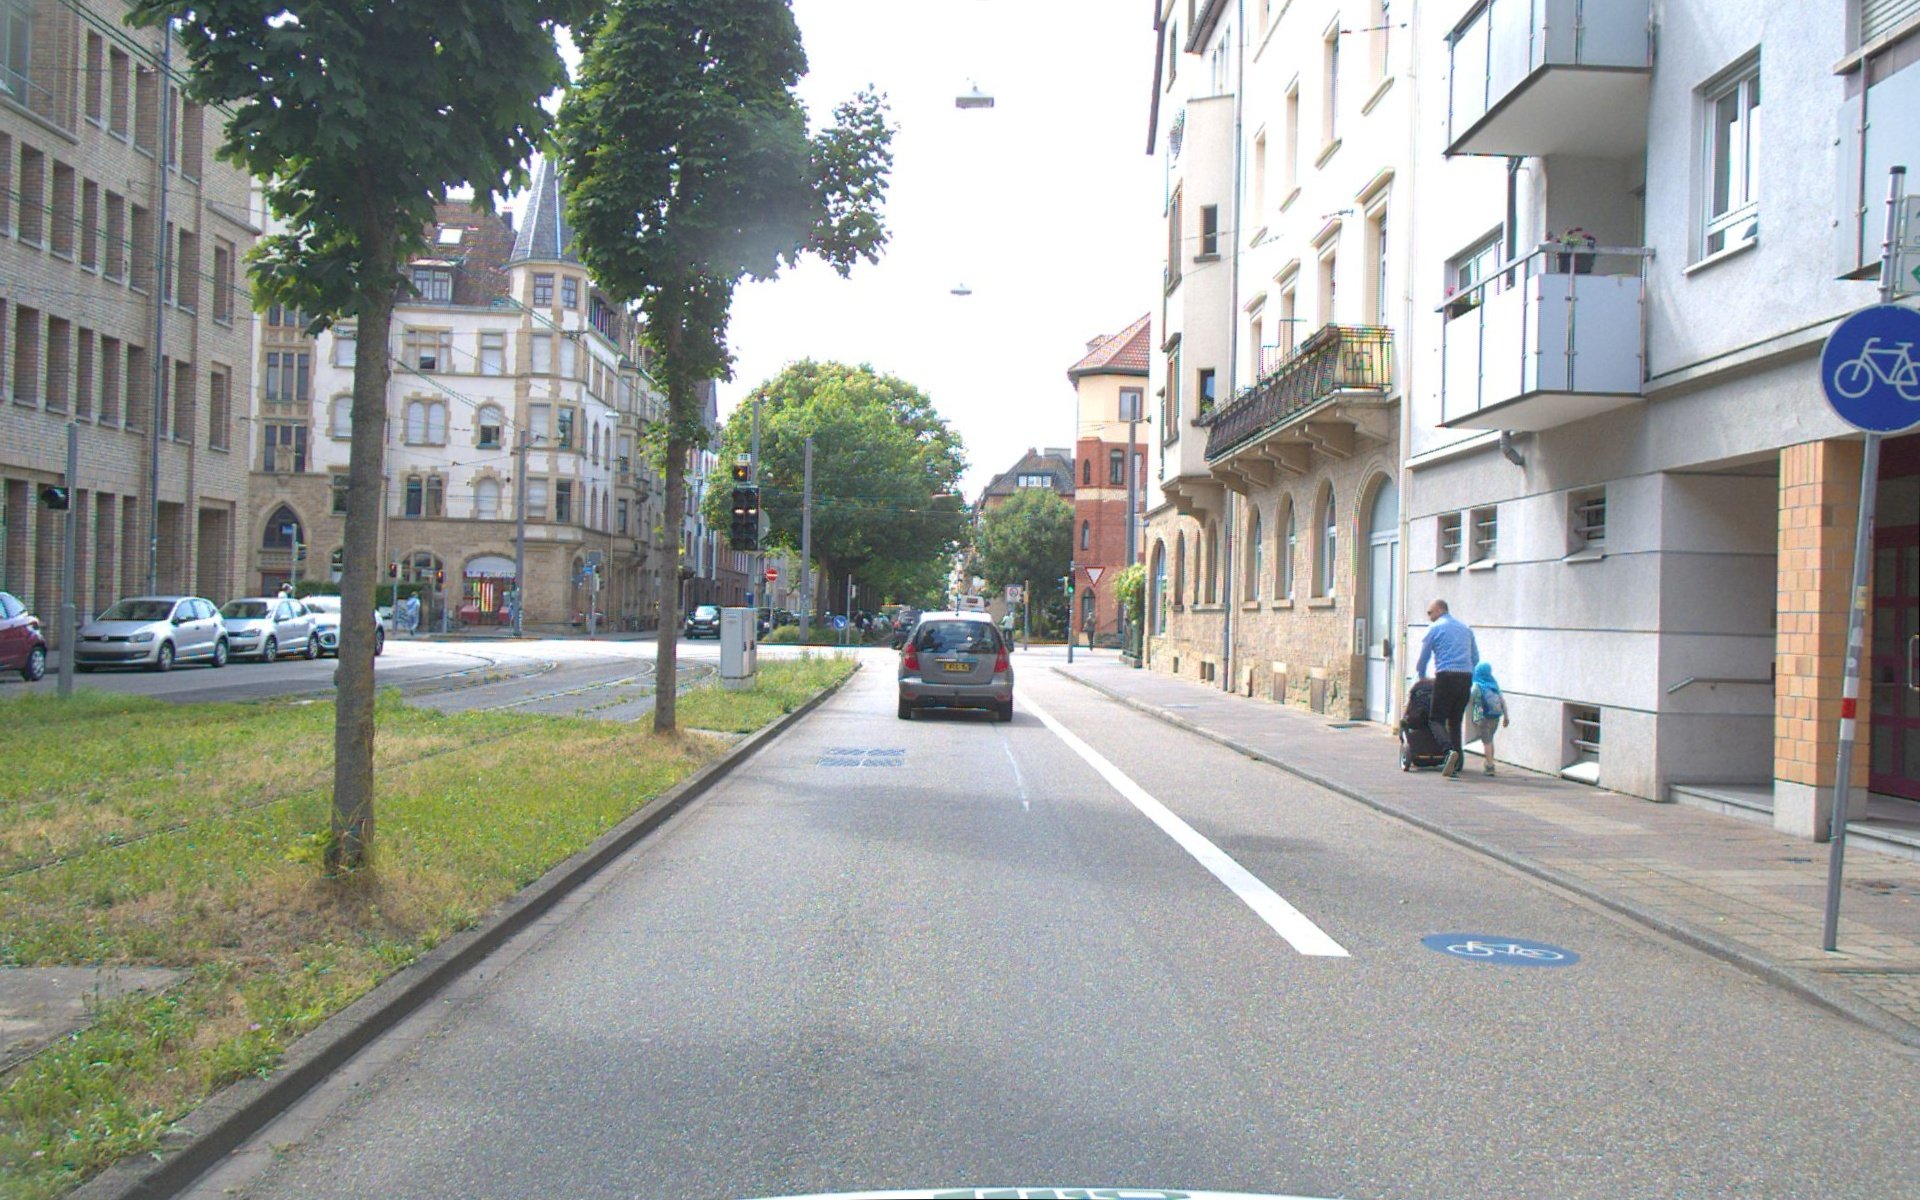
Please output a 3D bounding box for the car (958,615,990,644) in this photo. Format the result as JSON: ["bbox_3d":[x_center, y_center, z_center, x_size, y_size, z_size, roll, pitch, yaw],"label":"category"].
[{"bbox_3d":[0.876,1.762,99.479,1.715,1.661,3.500,1,-1,3],"label":"car"}]

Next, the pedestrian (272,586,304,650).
[{"bbox_3d":[-19.504,0.528,48.023,0.750,1.827,0.952,2,-1,-26],"label":"pedestrian"}]

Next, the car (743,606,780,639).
[{"bbox_3d":[-11.127,1.259,92.749,1.955,1.758,3.995,1,-1,-6],"label":"car"}]

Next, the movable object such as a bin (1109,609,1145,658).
[{"bbox_3d":[5.515,1.104,54.777,1.028,1.566,2.100,1,-1,1],"label":"movable object such as a bin"}]

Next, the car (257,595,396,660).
[{"bbox_3d":[-16.212,0.690,42.562,1.893,1.562,4.257,1,-1,0],"label":"car"}]

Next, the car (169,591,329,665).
[{"bbox_3d":[-16.219,0.625,37.966,1.893,1.557,4.014,1,-1,0],"label":"car"}]

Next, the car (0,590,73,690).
[{"bbox_3d":[-15.781,0.611,26.145,1.550,1.557,3.549,1,-1,0],"label":"car"}]

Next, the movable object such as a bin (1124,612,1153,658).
[{"bbox_3d":[5.905,1.167,54.684,0.701,1.498,0.980,1,-1,-10],"label":"movable object such as a bin"}]

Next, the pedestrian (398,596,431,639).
[{"bbox_3d":[-22.237,0.716,67.462,0.763,1.752,1.016,1,-1,45],"label":"pedestrian"}]

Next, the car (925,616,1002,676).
[{"bbox_3d":[0.084,1.198,44.193,1.939,1.467,3.999,1,-1,0],"label":"car"}]

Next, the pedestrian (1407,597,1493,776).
[{"bbox_3d":[4.948,0.856,16.733,0.608,1.769,0.877,0,-1,0],"label":"pedestrian"}]

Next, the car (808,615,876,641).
[{"bbox_3d":[-6.728,1.603,94.091,1.956,1.362,3.943,2,-1,-40],"label":"car"}]

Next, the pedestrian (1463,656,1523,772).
[{"bbox_3d":[5.497,1.169,17.067,0.447,1.155,0.494,1,-1,0],"label":"pedestrian"}]

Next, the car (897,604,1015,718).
[{"bbox_3d":[-0.055,0.909,25.856,1.687,1.634,3.677,1,-1,0],"label":"car"}]

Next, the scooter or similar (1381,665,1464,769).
[{"bbox_3d":[4.908,1.232,17.601,0.580,1.019,0.905,-3,-1,0],"label":"scooter or similar"}]

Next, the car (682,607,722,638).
[{"bbox_3d":[-14.204,1.221,91.212,1.955,1.646,3.995,1,-1,-6],"label":"car"}]

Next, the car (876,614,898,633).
[{"bbox_3d":[-6.029,1.926,136.784,1.716,1.543,3.499,1,-1,0],"label":"car"}]

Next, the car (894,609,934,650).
[{"bbox_3d":[-2.020,1.305,73.523,1.687,1.736,3.677,1,-1,0],"label":"car"}]

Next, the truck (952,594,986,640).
[{"bbox_3d":[0.643,1.145,112.537,2.078,3.022,4.001,1,-1,3],"label":"truck"}]

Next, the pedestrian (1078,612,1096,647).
[{"bbox_3d":[6.300,1.469,81.854,0.851,1.686,0.736,1,-1,4],"label":"pedestrian"}]

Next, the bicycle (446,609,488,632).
[{"bbox_3d":[-24.252,1.015,81.362,1.882,1.100,0.776,1,-1,-12],"label":"bicycle"}]

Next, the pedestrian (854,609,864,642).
[{"bbox_3d":[-5.453,1.380,89.344,0.483,1.755,0.653,1,-1,-6],"label":"pedestrian"}]

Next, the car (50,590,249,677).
[{"bbox_3d":[-15.920,0.638,32.735,1.813,1.557,4.210,1,-1,0],"label":"car"}]
